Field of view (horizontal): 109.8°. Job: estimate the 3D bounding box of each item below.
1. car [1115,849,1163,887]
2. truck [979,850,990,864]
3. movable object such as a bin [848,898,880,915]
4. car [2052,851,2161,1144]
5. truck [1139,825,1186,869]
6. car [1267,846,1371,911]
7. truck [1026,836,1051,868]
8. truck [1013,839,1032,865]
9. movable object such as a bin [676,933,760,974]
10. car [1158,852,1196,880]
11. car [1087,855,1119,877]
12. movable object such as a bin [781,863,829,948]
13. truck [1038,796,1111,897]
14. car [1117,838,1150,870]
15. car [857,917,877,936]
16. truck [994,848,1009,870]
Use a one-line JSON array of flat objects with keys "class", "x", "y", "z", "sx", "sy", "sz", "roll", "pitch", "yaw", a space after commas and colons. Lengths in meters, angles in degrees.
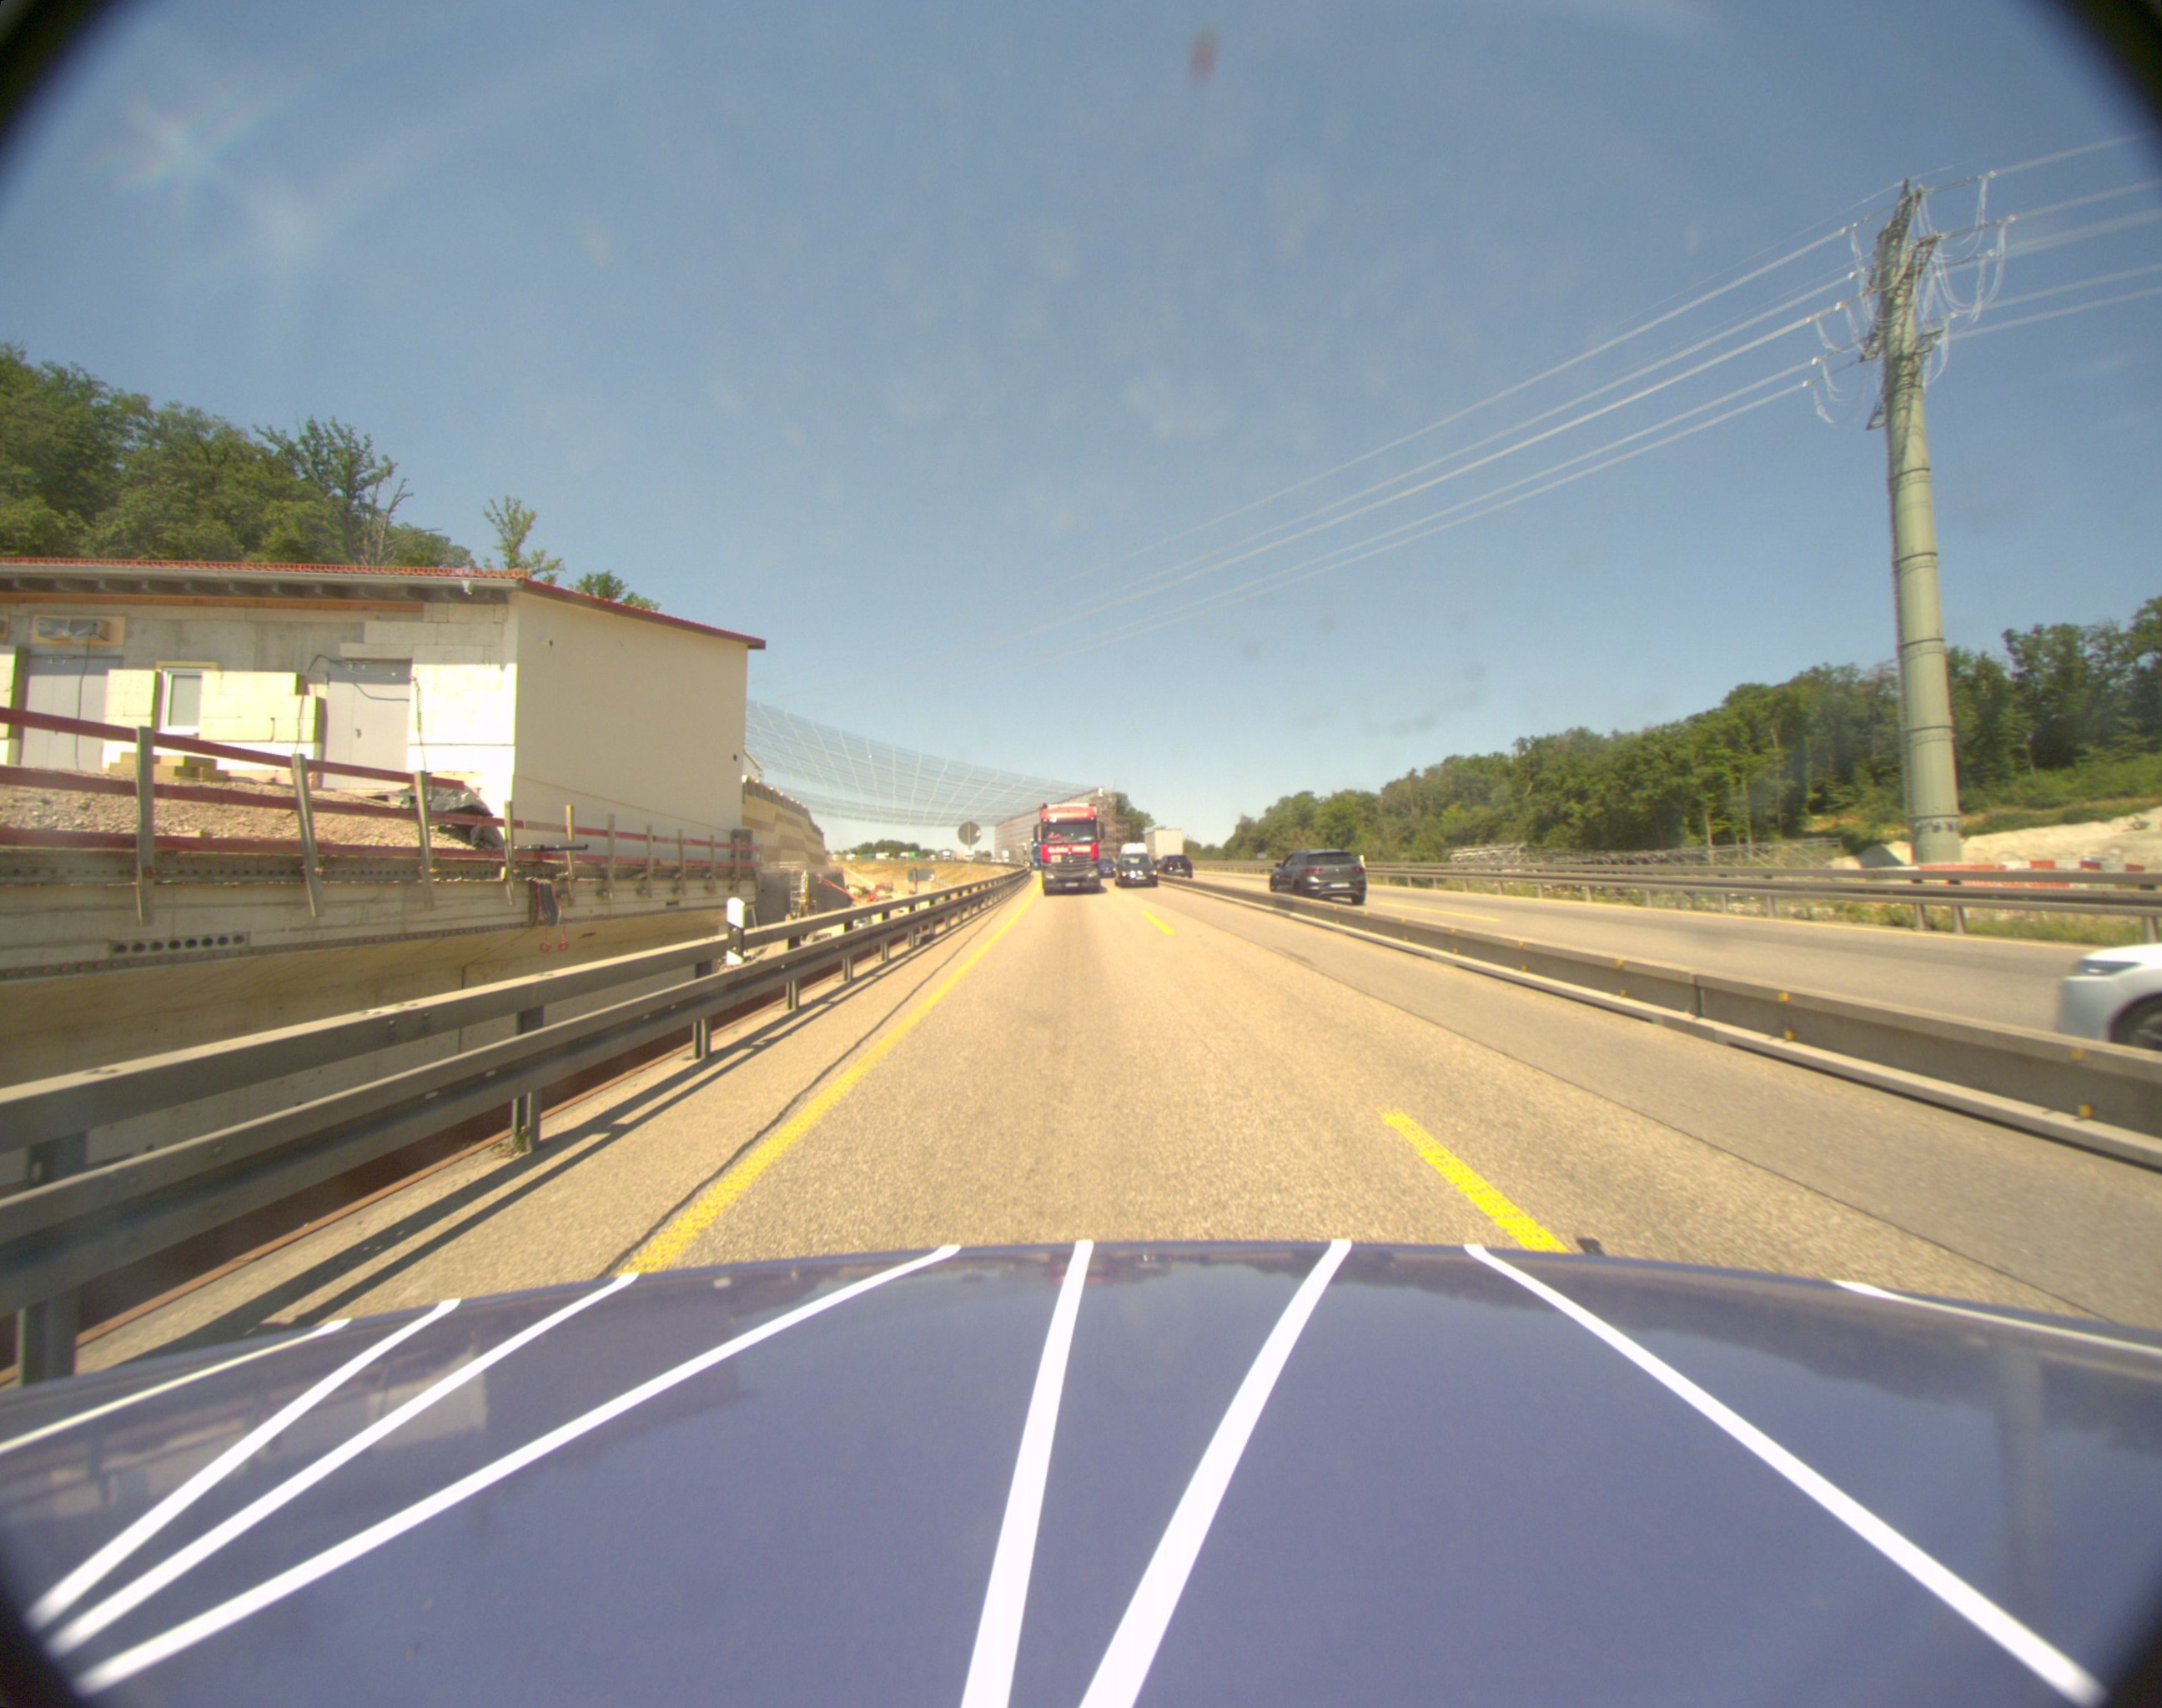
[{"class": "car", "x": 2.814, "y": 0.694, "z": 38.211, "sx": 1.861, "sy": 1.695, "sz": 5.303, "roll": -2, "pitch": -1, "yaw": -1}, {"class": "truck", "x": -28.474, "y": 0.886, "z": 224.820, "sx": 3.043, "sy": 4.033, "sz": 8.668, "roll": -3, "pitch": 1, "yaw": -7}, {"class": "movable object such as a bin", "x": -37.059, "y": 9.028, "z": 129.915, "sx": 5.485, "sy": 2.621, "sz": 2.224, "roll": -2, "pitch": 1, "yaw": 36}, {"class": "car", "x": 6.411, "y": 0.708, "z": 2.041, "sx": 1.916, "sy": 1.478, "sz": 4.477, "roll": -2, "pitch": 0, "yaw": 2}, {"class": "truck", "x": 7.951, "y": -0.827, "z": 75.670, "sx": 2.808, "sy": 3.978, "sz": 10.545, "roll": -3, "pitch": 2, "yaw": -3}, {"class": "car", "x": 6.715, "y": 0.639, "z": 21.845, "sx": 1.743, "sy": 1.632, "sz": 4.001, "roll": -2, "pitch": 0, "yaw": 1}, {"class": "truck", "x": -5.878, "y": -0.315, "z": 103.932, "sx": 2.673, "sy": 3.986, "sz": 10.422, "roll": -3, "pitch": 1, "yaw": -6}, {"class": "truck", "x": -10.161, "y": -0.375, "z": 130.587, "sx": 2.911, "sy": 4.207, "sz": 9.235, "roll": -3, "pitch": 1, "yaw": -6}, {"class": "movable object such as a bin", "x": -26.889, "y": 7.362, "z": 56.338, "sx": 5.119, "sy": 2.577, "sz": 2.059, "roll": -2, "pitch": 0, "yaw": 0}, {"class": "car", "x": 5.852, "y": 0.717, "z": 46.686, "sx": 1.734, "sy": 1.542, "sz": 4.035, "roll": -2, "pitch": 0, "yaw": -1}, {"class": "car", "x": 1.558, "y": 0.877, "z": 55.982, "sx": 1.896, "sy": 1.546, "sz": 4.785, "roll": -1, "pitch": -1, "yaw": -4}, {"class": "movable object such as a bin", "x": -25.747, "y": 4.660, "z": 71.239, "sx": 2.935, "sy": 7.311, "sz": 6.233, "roll": -3, "pitch": 1, "yaw": -11}, {"class": "truck", "x": -0.401, "y": -0.381, "z": 36.183, "sx": 2.798, "sy": 3.986, "sz": 10.426, "roll": -2, "pitch": 1, "yaw": -2}, {"class": "car", "x": 4.708, "y": -0.043, "z": 69.249, "sx": 1.975, "sy": 2.664, "sz": 6.657, "roll": -2, "pitch": 1, "yaw": -4}, {"class": "car", "x": -28.684, "y": 9.727, "z": 101.975, "sx": 2.000, "sy": 2.002, "sz": 3.997, "roll": -3, "pitch": 1, "yaw": -8}, {"class": "truck", "x": -18.314, "y": 1.143, "z": 175.064, "sx": 3.043, "sy": 4.778, "sz": 8.935, "roll": -3, "pitch": 1, "yaw": -7}]
